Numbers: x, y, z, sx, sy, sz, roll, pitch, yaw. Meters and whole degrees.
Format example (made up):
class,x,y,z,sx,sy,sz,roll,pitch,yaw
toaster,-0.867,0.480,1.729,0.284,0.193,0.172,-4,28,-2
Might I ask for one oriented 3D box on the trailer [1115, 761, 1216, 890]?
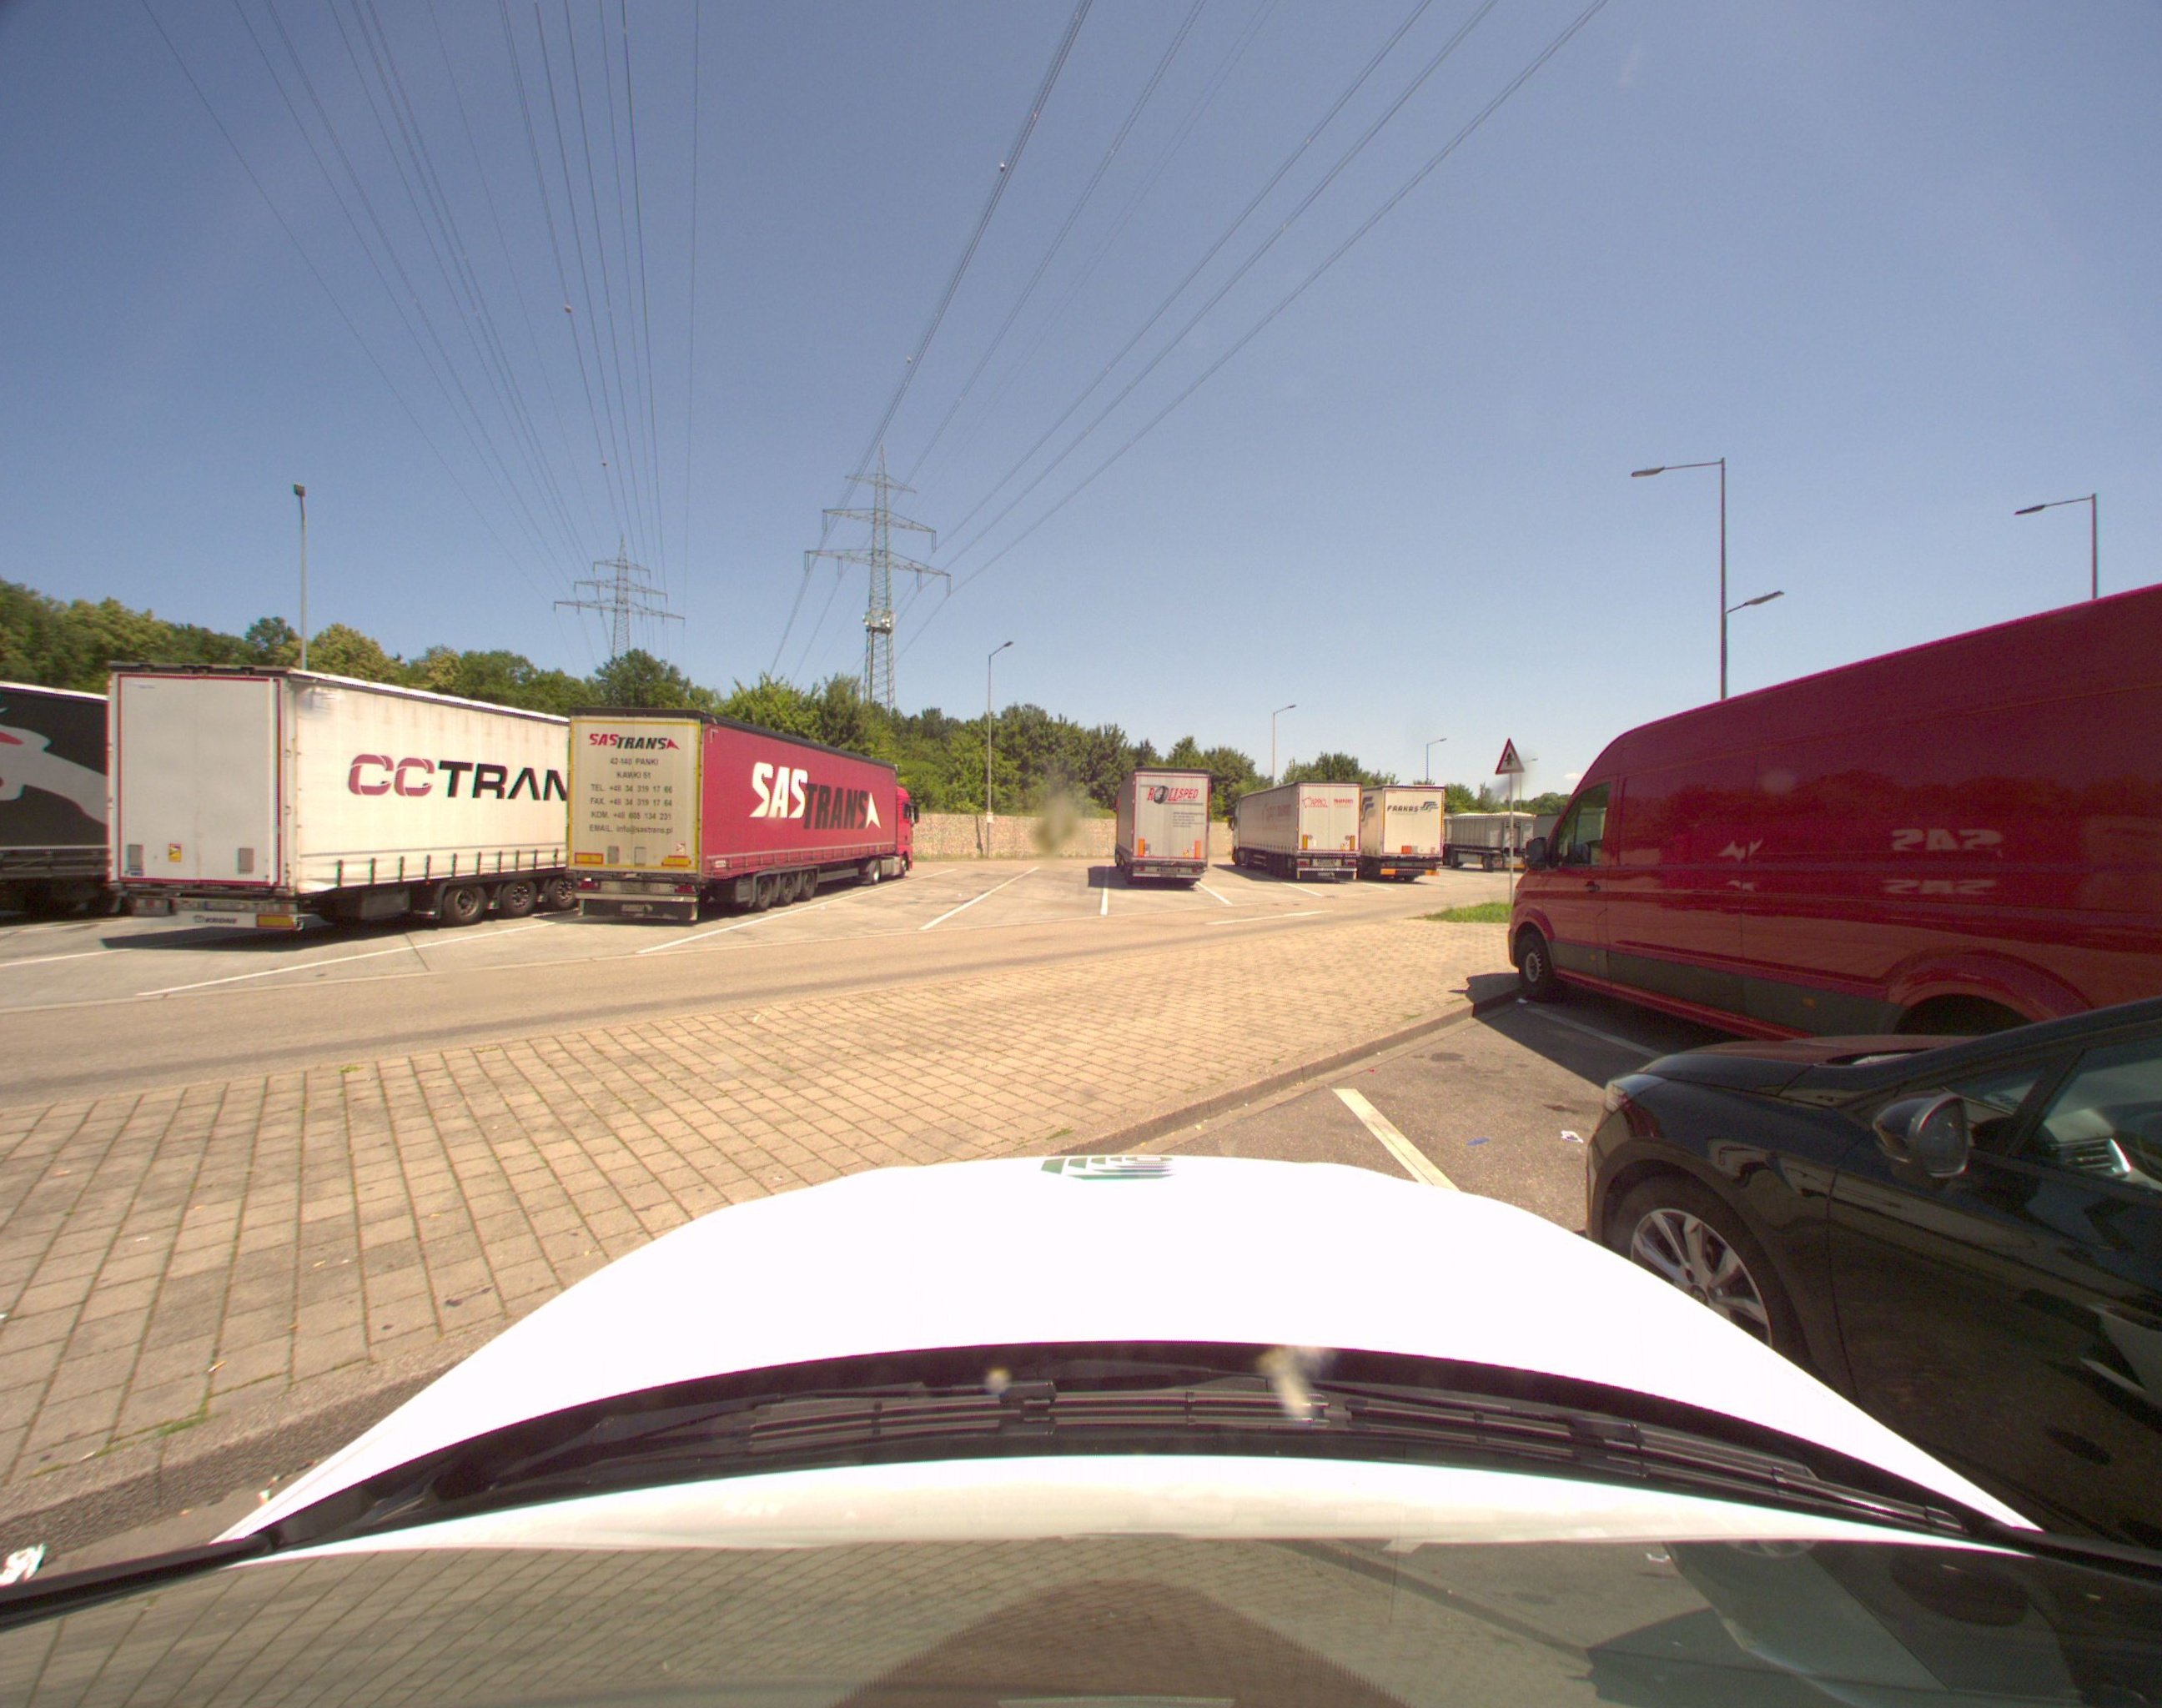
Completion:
class,x,y,z,sx,sy,sz,roll,pitch,yaw
trailer,3.028,-1.100,33.312,2.896,4.132,13.727,1,2,1

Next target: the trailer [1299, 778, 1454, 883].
class,x,y,z,sx,sy,sz,roll,pitch,yaw
trailer,13.616,-1.118,39.302,2.828,4.132,13.730,1,2,2

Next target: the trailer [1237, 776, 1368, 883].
class,x,y,z,sx,sy,sz,roll,pitch,yaw
trailer,9.959,-1.151,38.639,2.828,4.132,13.730,1,2,2

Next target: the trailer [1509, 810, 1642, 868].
class,x,y,z,sx,sy,sz,roll,pitch,yaw
trailer,38.379,-1.232,64.152,2.826,4.049,13.737,1,2,3

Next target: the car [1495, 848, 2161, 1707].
class,x,y,z,sx,sy,sz,roll,pitch,yaw
car,2.521,0.755,1.195,1.733,1.482,3.813,-1,1,-3

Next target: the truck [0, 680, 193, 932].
class,x,y,z,sx,sy,sz,roll,pitch,yaw
truck,-18.577,-0.801,13.580,2.692,4.016,4.326,1,2,2

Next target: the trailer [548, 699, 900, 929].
class,x,y,z,sx,sy,sz,roll,pitch,yaw
trailer,-8.036,-0.952,21.673,2.896,4.131,13.731,1,2,2

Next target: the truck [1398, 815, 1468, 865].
class,x,y,z,sx,sy,sz,roll,pitch,yaw
truck,24.925,-1.005,57.966,2.840,3.364,5.488,1,1,3

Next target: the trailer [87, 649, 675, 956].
class,x,y,z,sx,sy,sz,roll,pitch,yaw
trailer,-12.201,-0.888,16.344,2.718,4.209,10.175,1,2,2

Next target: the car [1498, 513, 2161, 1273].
class,x,y,z,sx,sy,sz,roll,pitch,yaw
car,5.164,0.088,5.505,2.055,2.695,6.405,-1,1,6

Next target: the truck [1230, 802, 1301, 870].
class,x,y,z,sx,sy,sz,roll,pitch,yaw
truck,10.168,-1.025,45.449,2.841,3.483,5.486,1,1,2

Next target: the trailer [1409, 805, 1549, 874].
class,x,y,z,sx,sy,sz,roll,pitch,yaw
trailer,24.536,-0.997,51.468,2.826,3.717,13.737,1,2,3

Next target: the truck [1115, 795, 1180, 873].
class,x,y,z,sx,sy,sz,roll,pitch,yaw
truck,3.172,-0.986,39.925,2.841,3.483,5.486,1,1,2

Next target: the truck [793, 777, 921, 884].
class,x,y,z,sx,sy,sz,roll,pitch,yaw
truck,-7.797,-0.834,29.110,2.841,3.427,5.486,1,1,2
